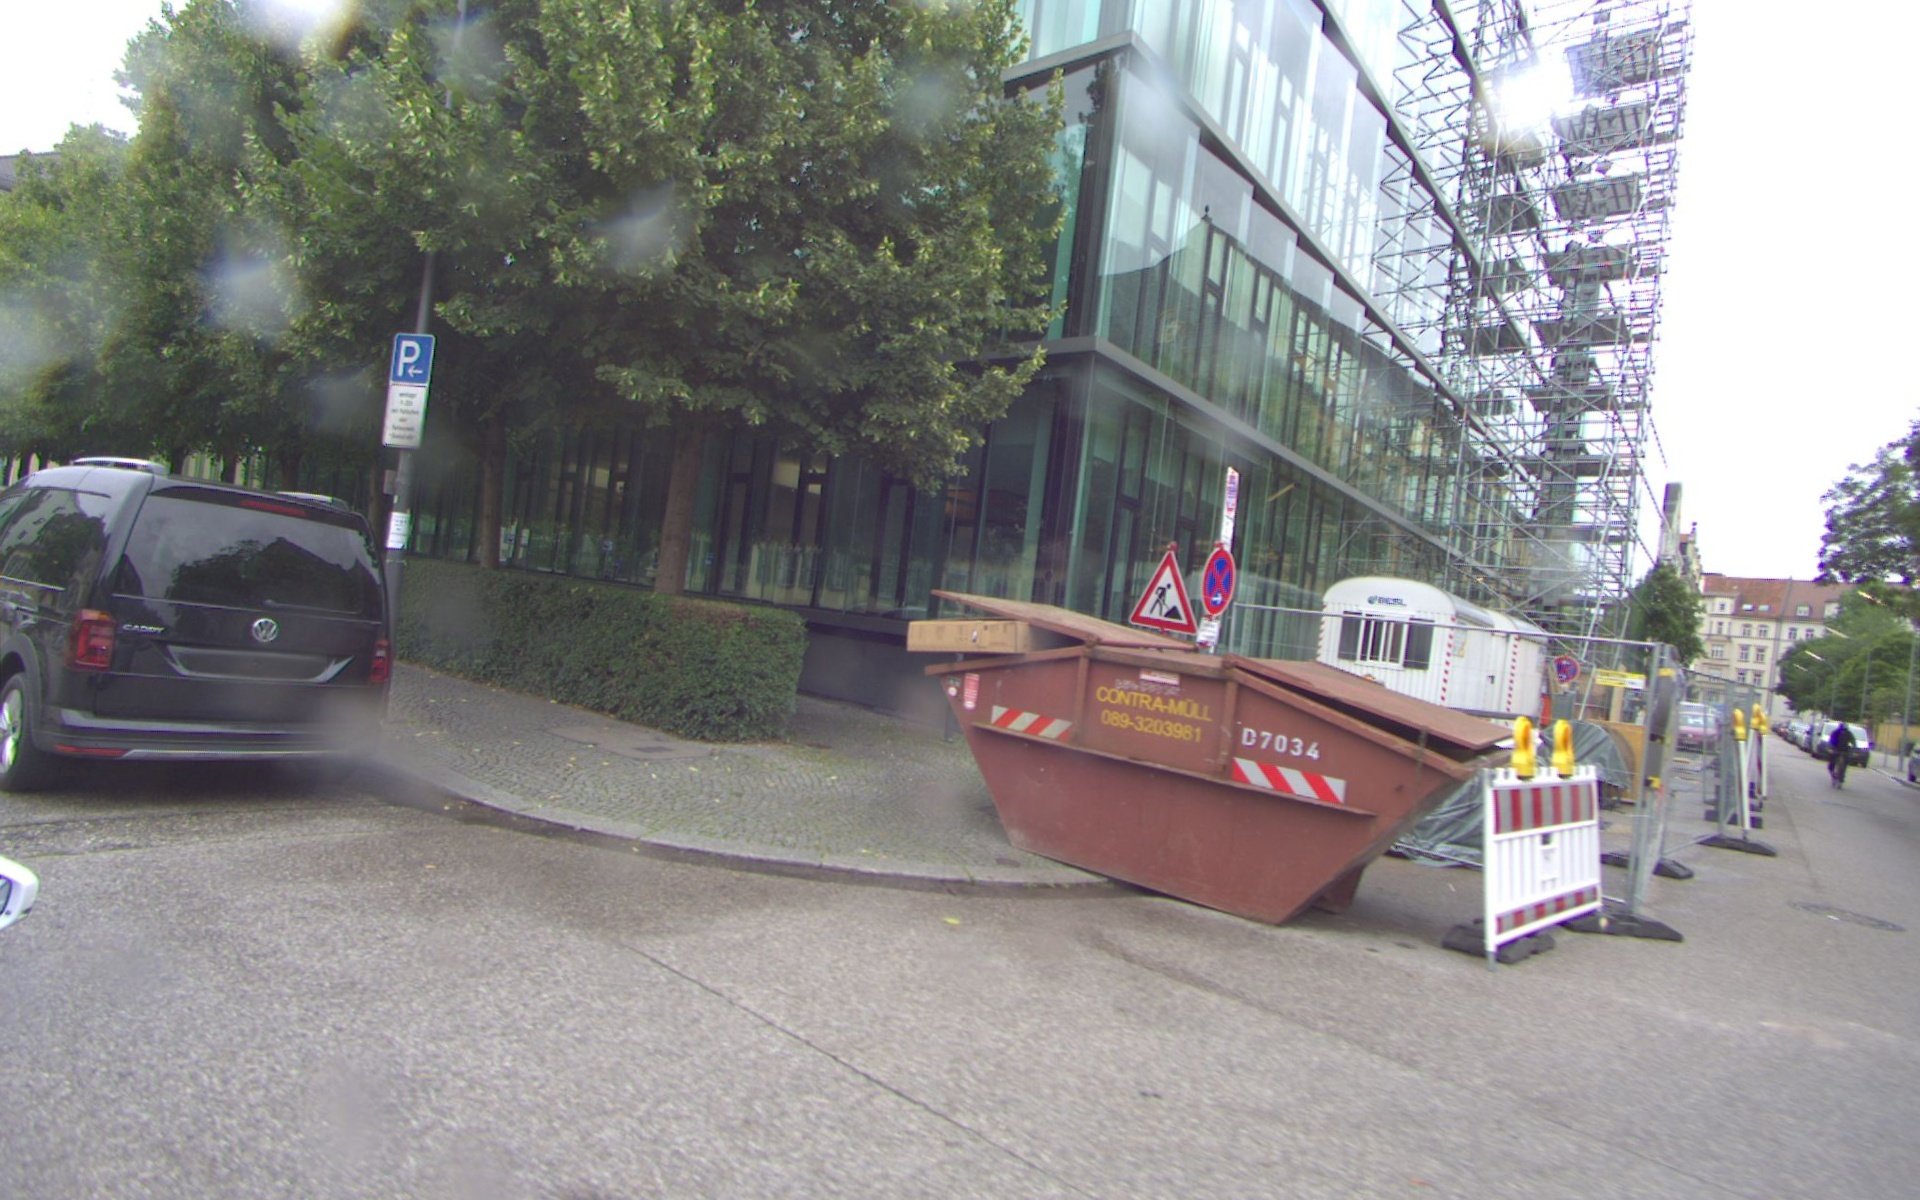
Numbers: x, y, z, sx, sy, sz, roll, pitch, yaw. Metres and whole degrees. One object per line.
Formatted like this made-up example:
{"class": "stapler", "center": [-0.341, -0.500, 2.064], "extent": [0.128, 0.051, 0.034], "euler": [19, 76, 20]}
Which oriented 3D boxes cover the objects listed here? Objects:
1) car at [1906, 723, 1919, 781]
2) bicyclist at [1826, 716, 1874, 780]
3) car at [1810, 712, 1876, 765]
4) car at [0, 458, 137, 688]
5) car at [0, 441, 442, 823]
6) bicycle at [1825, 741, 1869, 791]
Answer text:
{"class": "car", "center": [34.574, 5.430, 34.819], "extent": [1.969, 2.037, 3.989], "euler": [7, -1, 36]}
{"class": "bicyclist", "center": [24.413, 4.052, 27.591], "extent": [0.800, 1.594, 0.972], "euler": [7, -1, 45]}
{"class": "car", "center": [42.604, 6.710, 48.620], "extent": [1.971, 2.101, 3.991], "euler": [6, -4, 38]}
{"class": "car", "center": [-9.505, -0.434, 9.270], "extent": [4.441, 1.815, 1.863], "euler": [7, -1, 37]}
{"class": "car", "center": [-5.521, 0.054, 6.732], "extent": [4.073, 1.844, 1.763], "euler": [7, -1, 34]}
{"class": "bicycle", "center": [24.451, 4.558, 27.723], "extent": [0.753, 1.156, 2.249], "euler": [5, -1, 44]}
